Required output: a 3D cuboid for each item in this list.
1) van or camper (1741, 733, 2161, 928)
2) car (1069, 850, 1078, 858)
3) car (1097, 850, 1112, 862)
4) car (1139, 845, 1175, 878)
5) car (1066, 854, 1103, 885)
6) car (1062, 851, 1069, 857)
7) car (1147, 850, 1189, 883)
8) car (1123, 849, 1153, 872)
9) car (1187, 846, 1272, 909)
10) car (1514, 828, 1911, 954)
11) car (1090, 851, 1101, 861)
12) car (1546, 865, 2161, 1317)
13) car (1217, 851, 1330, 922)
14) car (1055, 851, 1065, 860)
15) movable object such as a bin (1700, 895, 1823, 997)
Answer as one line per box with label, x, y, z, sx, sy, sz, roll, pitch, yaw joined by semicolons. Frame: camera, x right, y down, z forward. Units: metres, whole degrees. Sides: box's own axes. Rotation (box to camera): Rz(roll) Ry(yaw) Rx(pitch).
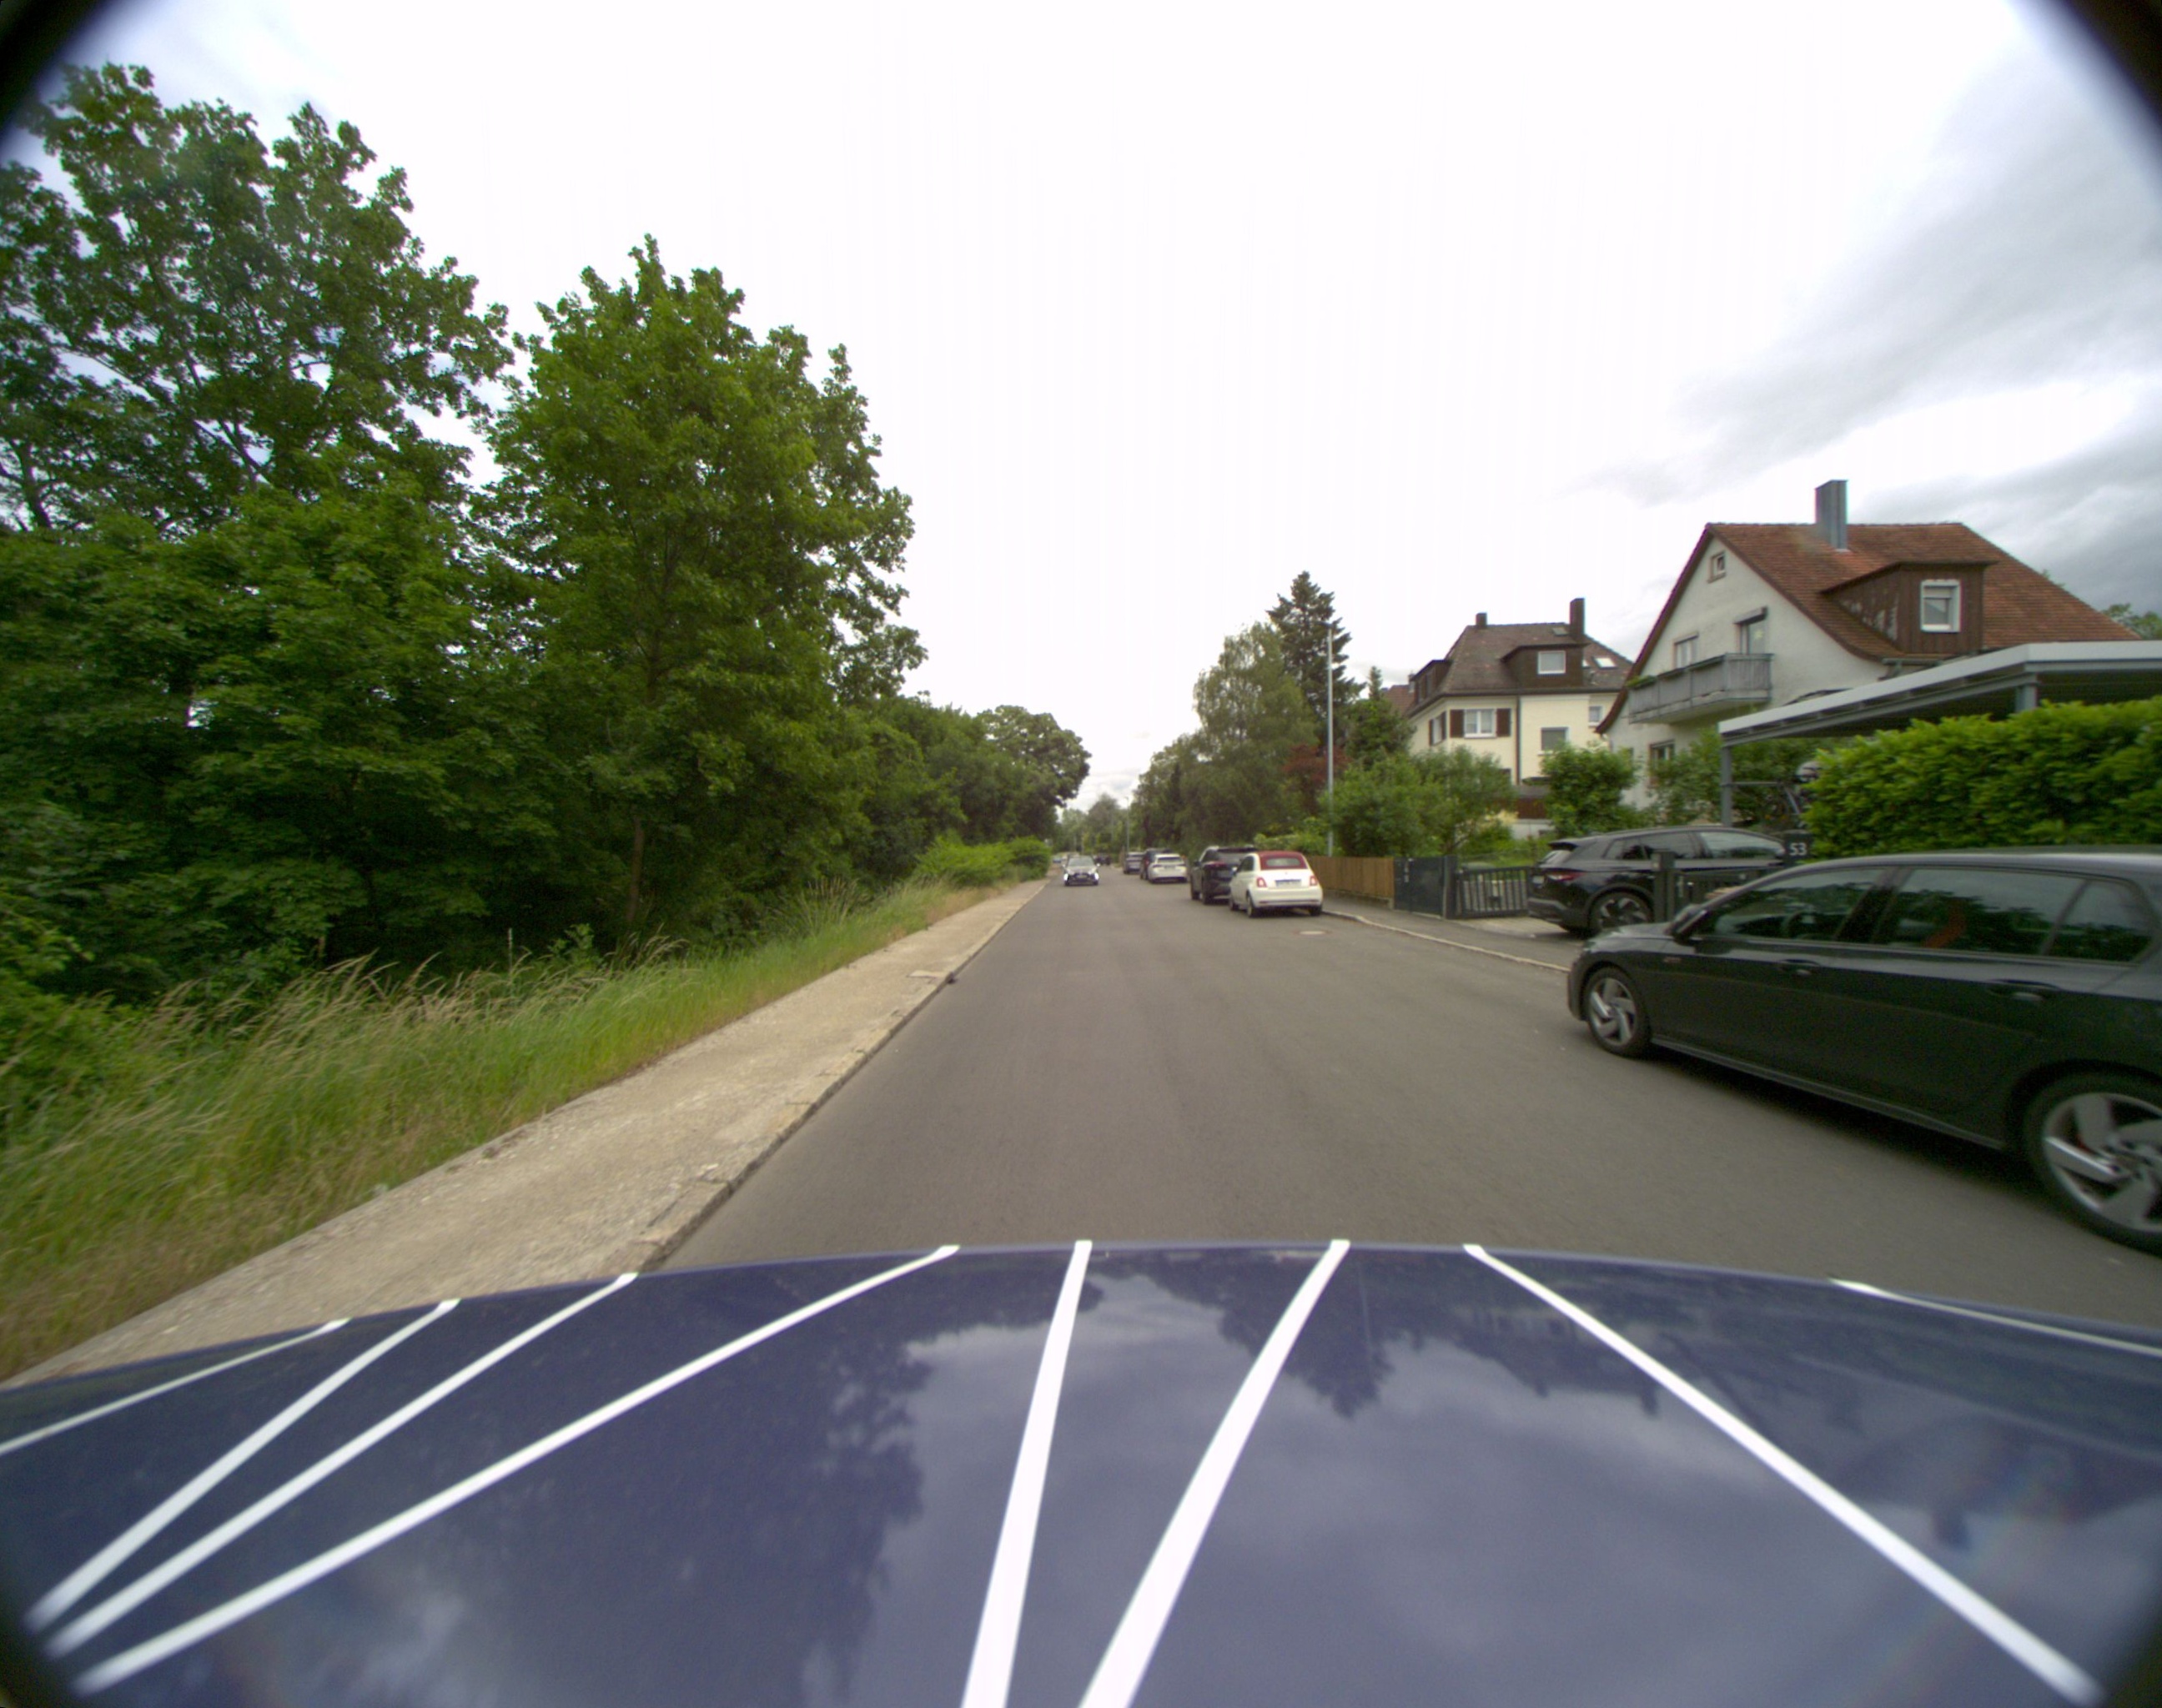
van or camper;15.138;-0.392;12.096;6.692;2.635;2.325;-3;0;9
car;-1.628;0.085;167.278;1.923;1.670;4.194;-2;0;-2
car;3.350;0.260;108.512;1.922;1.670;4.195;-2;0;1
car;4.418;0.432;44.572;1.711;1.789;4.297;-2;0;1
car;0.192;0.746;38.989;1.711;1.466;4.195;-2;0;1
car;-4.732;-0.091;235.204;1.923;1.670;4.194;-2;0;-2
car;4.372;0.589;38.602;1.711;1.502;4.554;-2;0;2
car;4.251;0.450;57.284;1.800;1.598;4.730;-2;0;0
car;4.391;0.632;23.042;1.796;1.654;4.392;-2;0;2
car;8.809;0.523;11.030;3.993;1.538;1.843;-3;0;14
car;2.303;0.324;123.113;1.711;1.466;4.195;-2;0;1
car;4.479;0.828;3.811;1.711;1.408;4.149;-2;0;0
car;4.555;0.702;18.581;1.711;1.502;3.945;-2;0;0
car;-4.195;0.277;151.373;1.923;1.670;4.193;-2;0;-4
movable object such as a bin;6.726;0.896;7.538;0.631;0.916;0.654;-1;1;1
